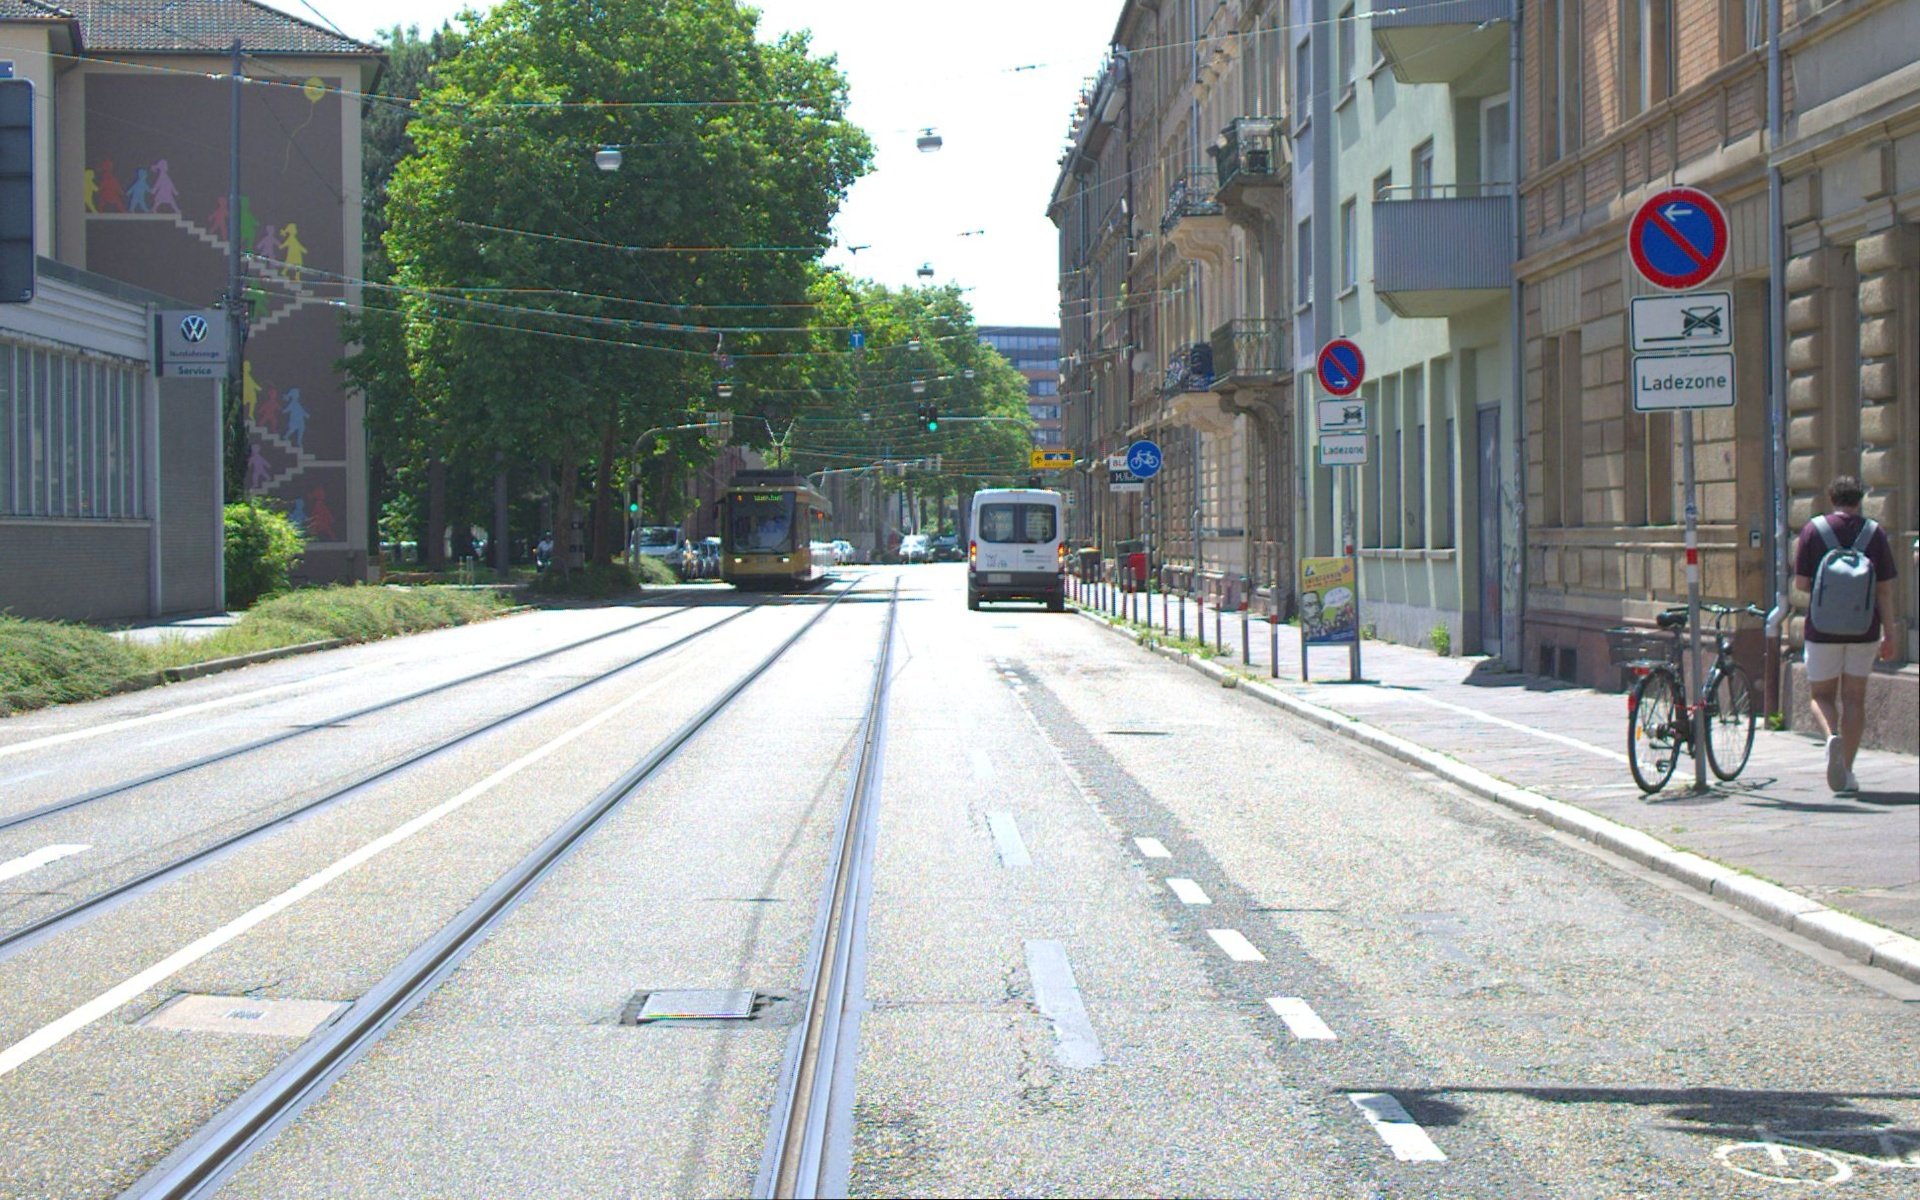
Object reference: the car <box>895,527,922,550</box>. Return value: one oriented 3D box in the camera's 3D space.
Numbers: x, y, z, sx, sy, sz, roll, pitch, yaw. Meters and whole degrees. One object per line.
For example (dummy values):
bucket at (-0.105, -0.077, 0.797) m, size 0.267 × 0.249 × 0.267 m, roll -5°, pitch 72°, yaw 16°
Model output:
car at (-3.212, -3.814, 212.899) m, size 1.528 × 1.404 × 3.490 m, roll 0°, pitch 1°, yaw -3°

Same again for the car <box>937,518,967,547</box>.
car at (-0.516, -4.327, 220.671) m, size 1.673 × 1.853 × 4.001 m, roll 0°, pitch 1°, yaw -3°

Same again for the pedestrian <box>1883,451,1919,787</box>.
pedestrian at (5.557, 0.084, 18.840) m, size 0.702 × 1.842 × 0.644 m, roll -4°, pitch 1°, yaw 1°

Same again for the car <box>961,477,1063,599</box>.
car at (1.077, -1.326, 73.301) m, size 2.067 × 2.492 × 5.454 m, roll 1°, pitch 1°, yaw 0°

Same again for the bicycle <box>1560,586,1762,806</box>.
bicycle at (4.011, 0.512, 19.544) m, size 0.499 × 1.127 × 2.240 m, roll 0°, pitch 1°, yaw 28°

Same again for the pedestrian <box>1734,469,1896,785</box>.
pedestrian at (4.733, 0.141, 19.059) m, size 0.720 × 1.714 × 0.644 m, roll -1°, pitch 1°, yaw 0°

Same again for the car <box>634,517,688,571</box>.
car at (-10.701, -2.021, 123.322) m, size 1.800 × 1.916 × 4.001 m, roll 0°, pitch 1°, yaw -3°

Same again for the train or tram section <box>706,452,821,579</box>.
train or tram section at (-5.838, -2.530, 103.975) m, size 2.960 × 3.568 × 13.425 m, roll 0°, pitch 1°, yaw -1°
